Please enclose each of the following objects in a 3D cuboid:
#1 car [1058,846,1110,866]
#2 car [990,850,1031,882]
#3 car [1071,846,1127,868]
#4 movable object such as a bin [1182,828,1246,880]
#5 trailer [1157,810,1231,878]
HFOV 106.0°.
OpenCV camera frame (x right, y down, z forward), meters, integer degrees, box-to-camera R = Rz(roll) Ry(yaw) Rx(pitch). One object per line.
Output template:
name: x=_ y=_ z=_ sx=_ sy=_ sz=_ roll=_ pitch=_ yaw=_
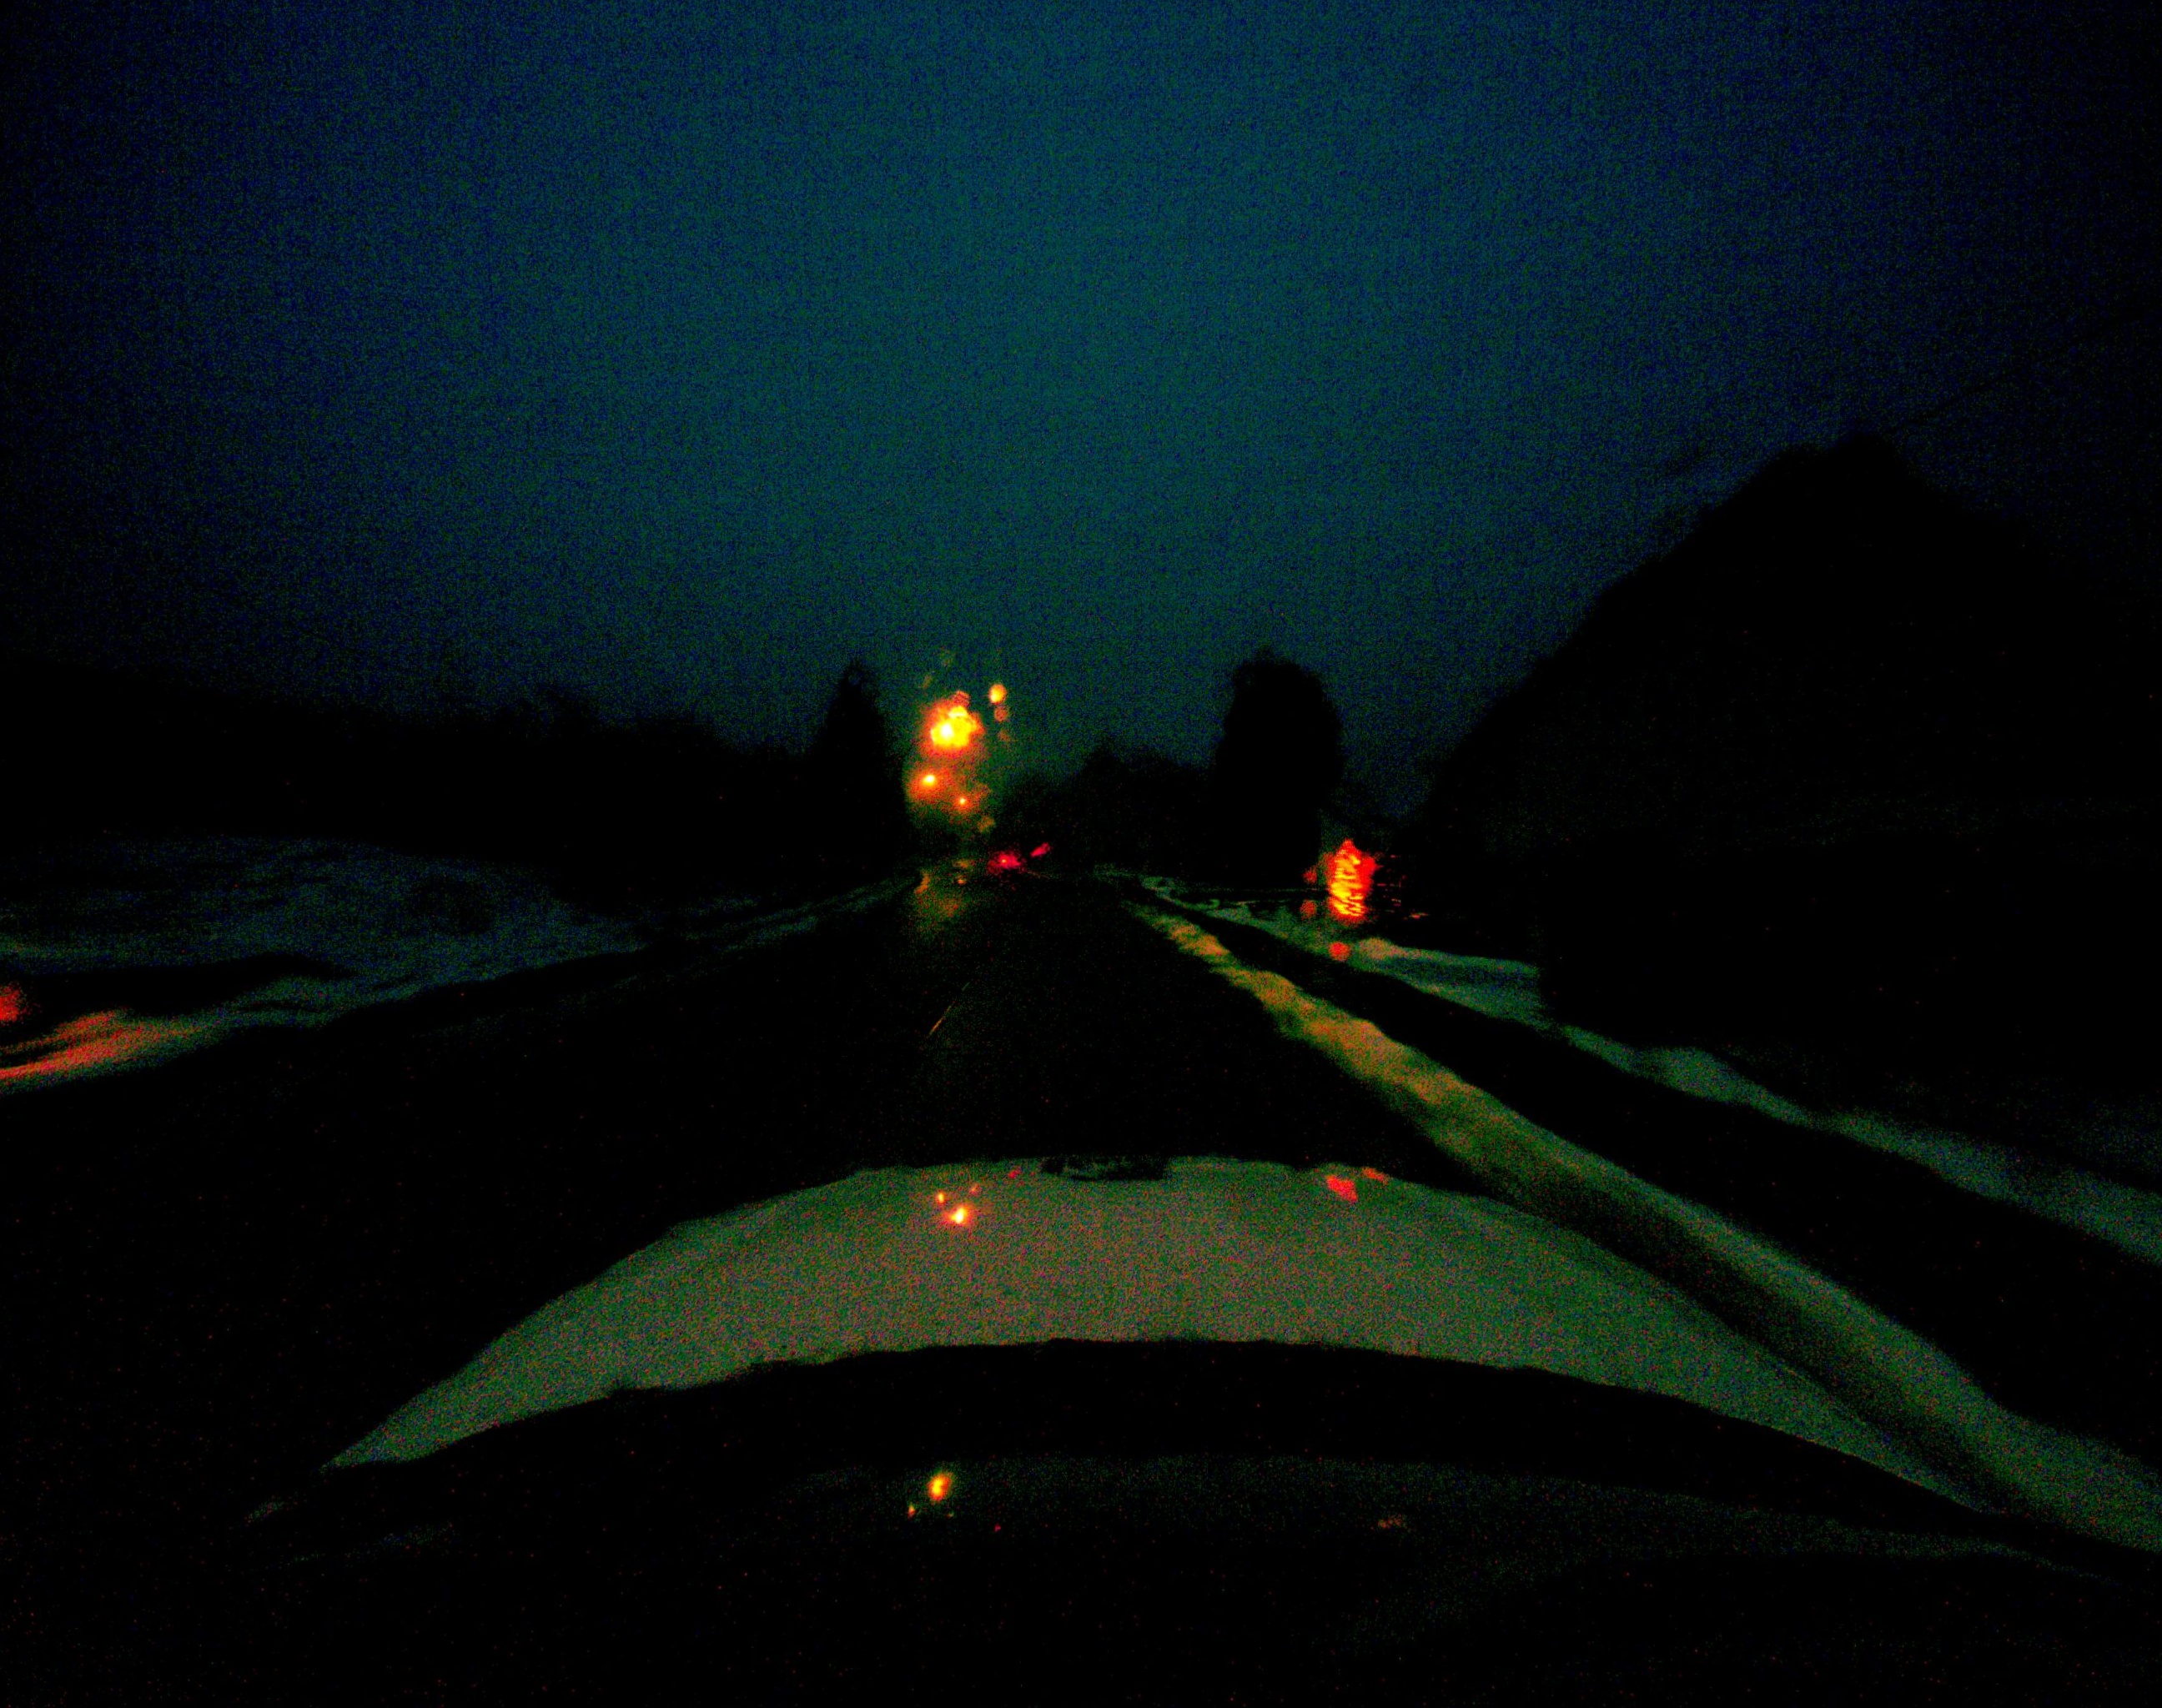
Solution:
car: x=0.235 y=0.157 z=66.436 sx=4.150 sy=1.559 sz=1.943 roll=-1 pitch=-2 yaw=-4
car: x=-4.222 y=0.750 z=48.285 sx=1.994 sy=1.737 sz=3.863 roll=0 pitch=-2 yaw=-11
car: x=1.405 y=0.233 z=63.536 sx=4.227 sy=1.559 sz=2.000 roll=-1 pitch=-2 yaw=1
movable object such as a bin: x=6.676 y=0.035 z=41.369 sx=2.381 sy=2.469 sz=4.512 roll=1 pitch=-1 yaw=-2
trailer: x=6.277 y=-0.490 z=45.965 sx=2.873 sy=3.560 sz=5.047 roll=1 pitch=-1 yaw=-8
